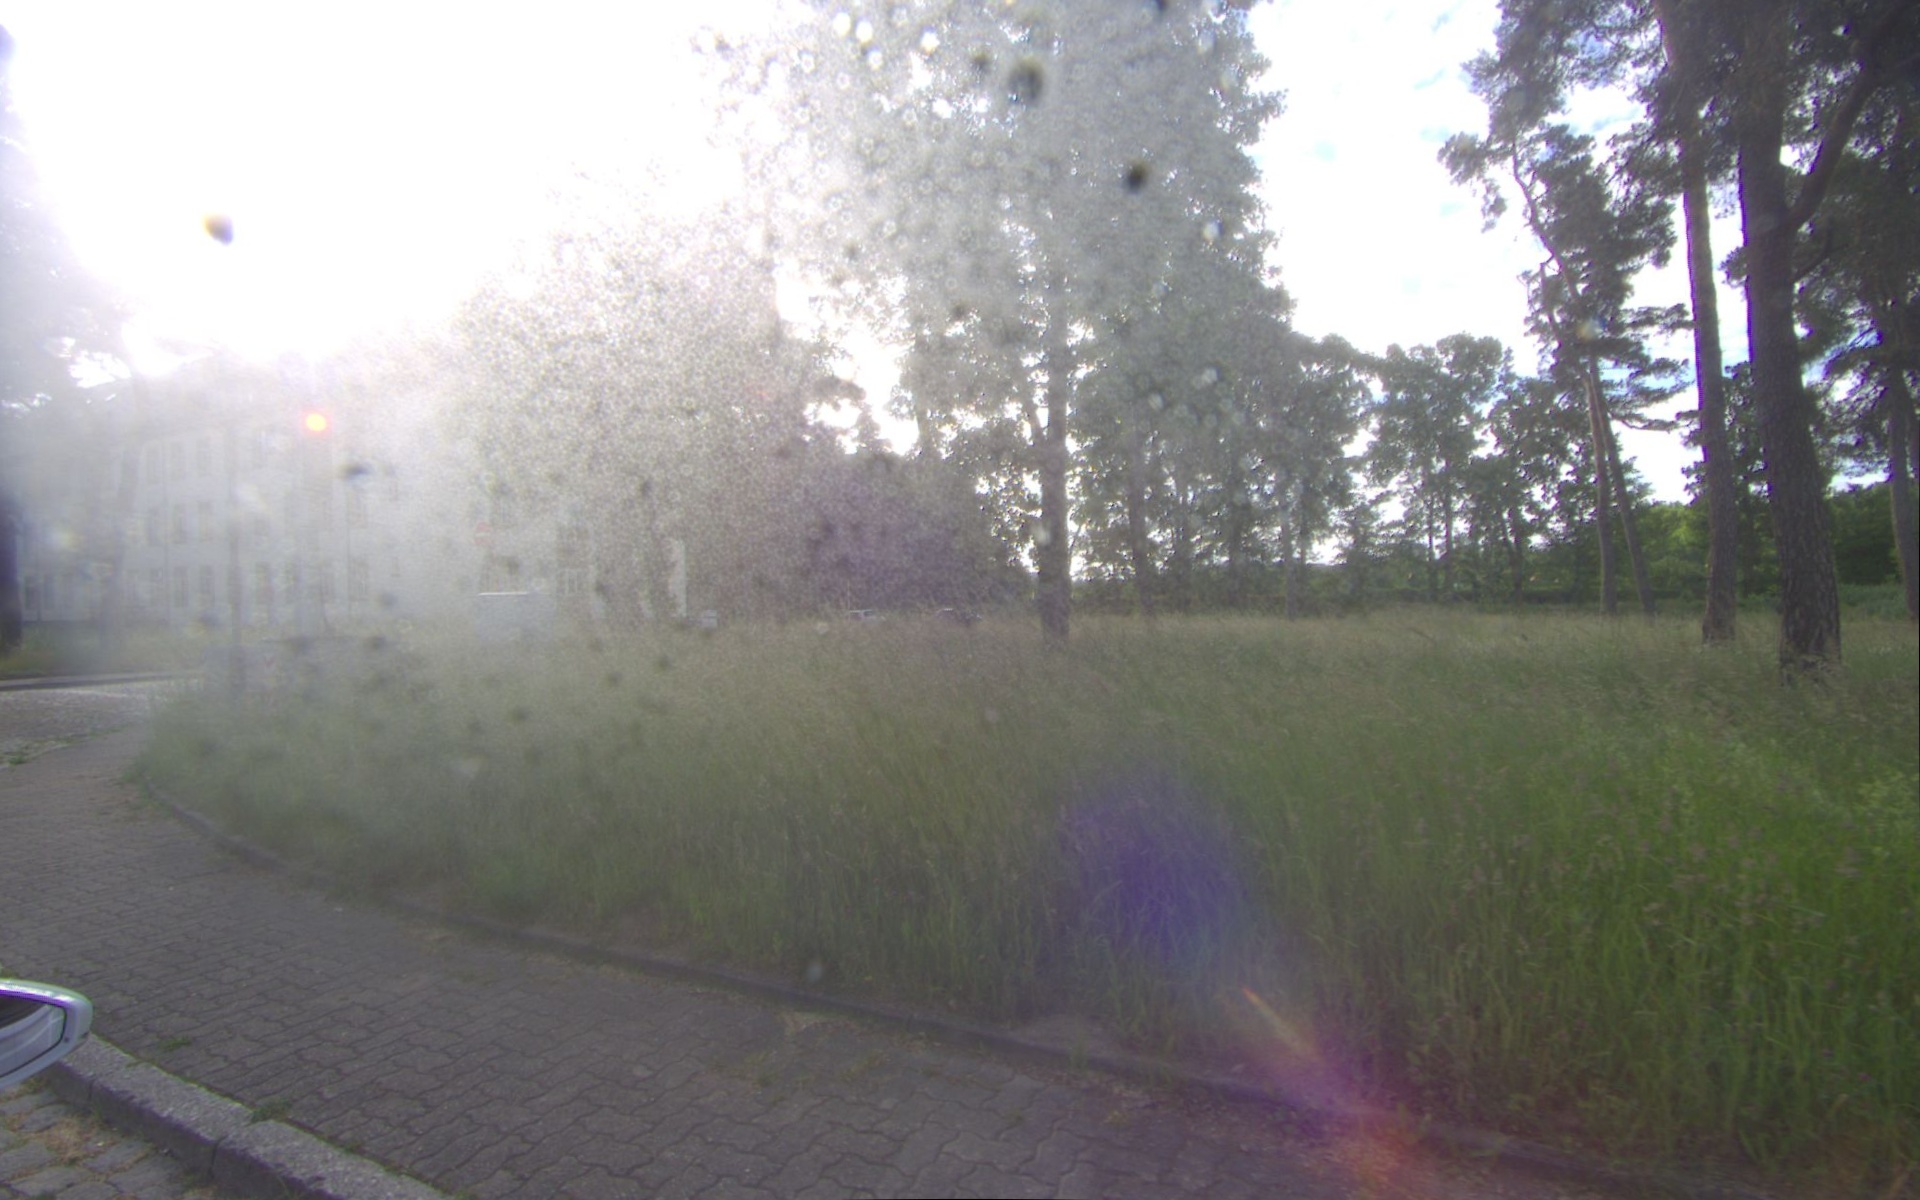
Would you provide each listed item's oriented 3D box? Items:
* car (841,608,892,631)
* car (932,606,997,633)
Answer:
[{"bbox_3d":[-6.367,1.362,68.512,1.539,1.415,3.985,-1,-3,29],"label":"car"},{"bbox_3d":[0.266,1.225,63.477,3.924,1.622,1.999,0,0,-8],"label":"car"}]
